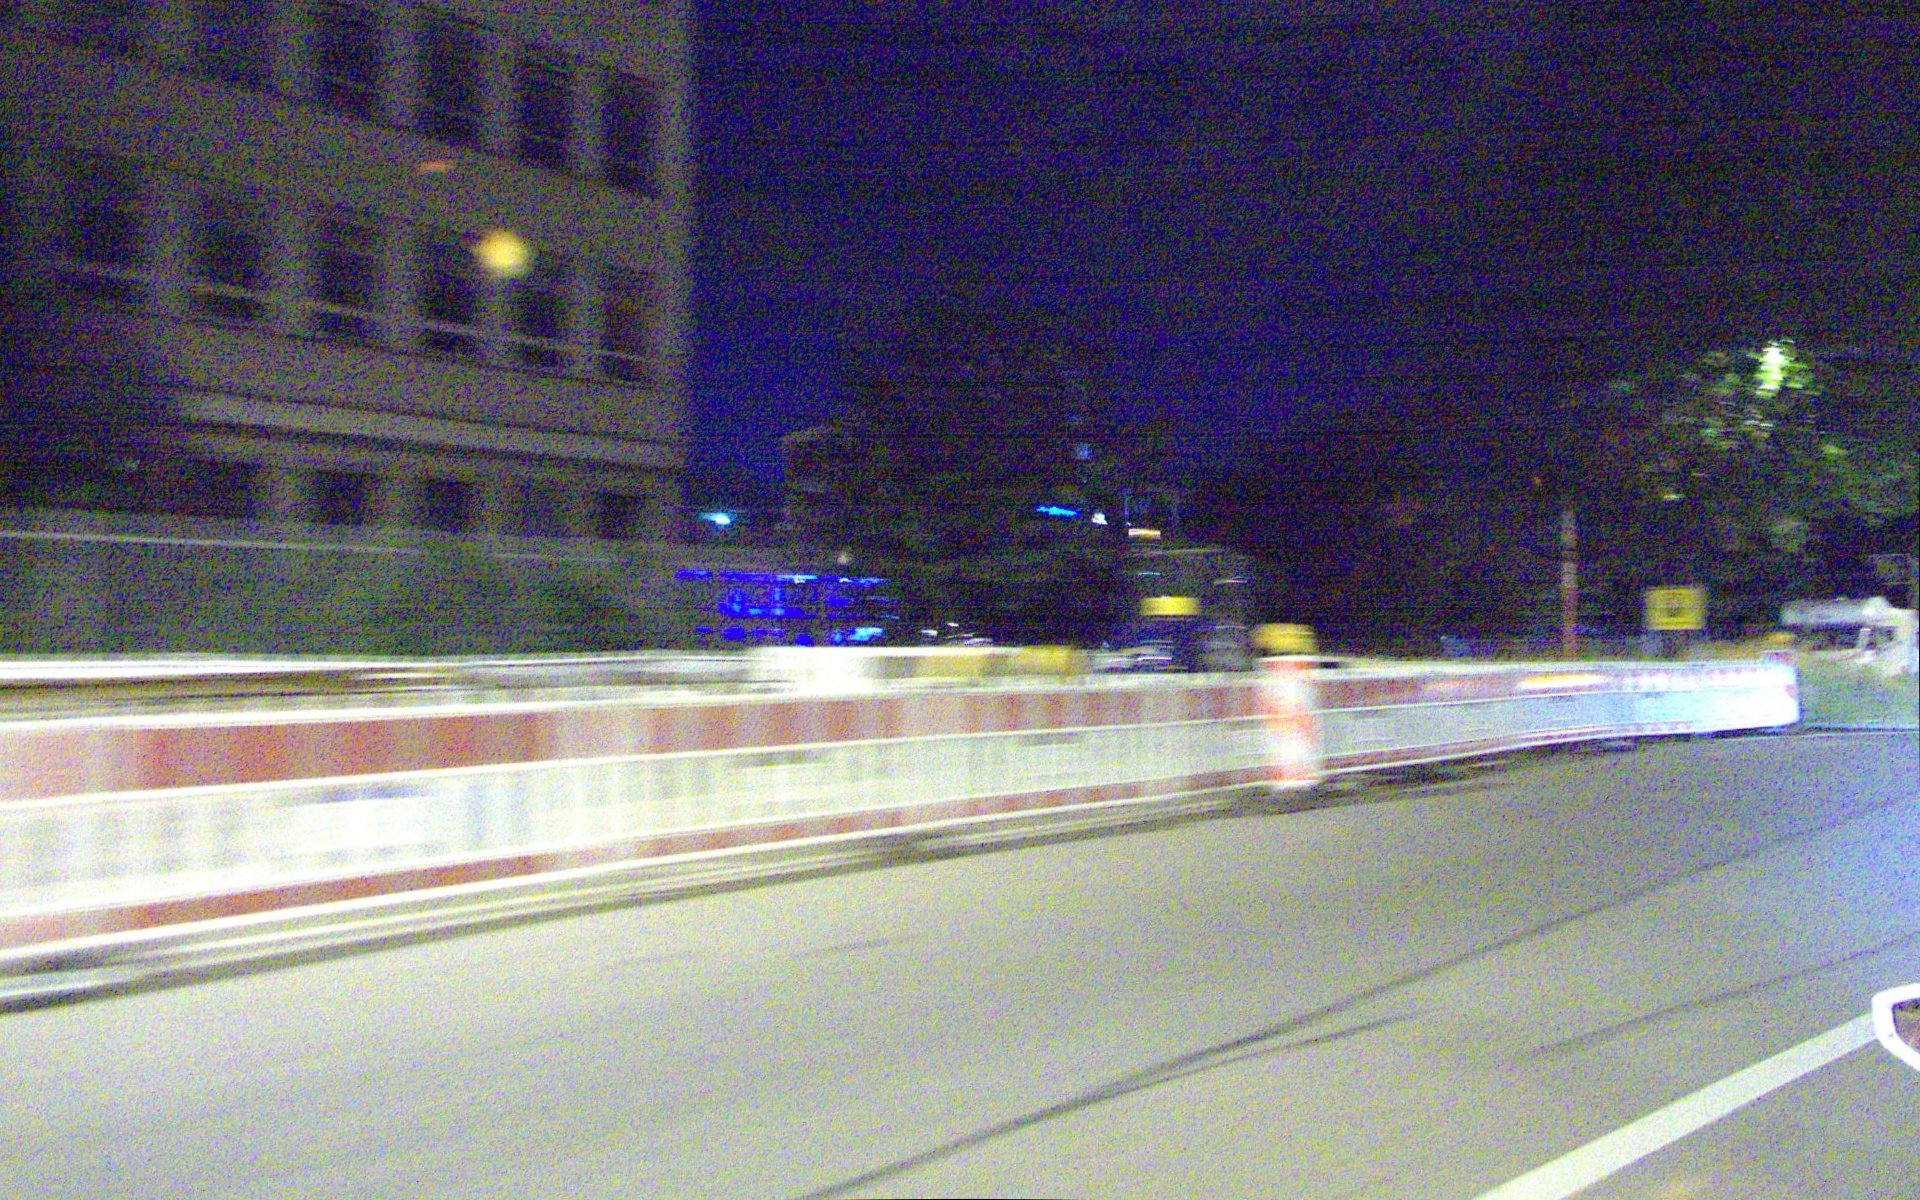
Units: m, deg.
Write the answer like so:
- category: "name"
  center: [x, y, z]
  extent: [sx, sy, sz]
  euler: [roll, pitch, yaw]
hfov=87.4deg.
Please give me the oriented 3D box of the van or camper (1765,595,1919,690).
- category: "van or camper"
  center: [32.005, 1.593, 36.272]
  extent: [7.370, 3.134, 2.504]
  euler: [2, -4, -35]

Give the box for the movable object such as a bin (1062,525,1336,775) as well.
- category: "movable object such as a bin"
  center: [3.164, 0.631, 12.963]
  extent: [3.674, 2.769, 1.556]
  euler: [1, -5, -43]

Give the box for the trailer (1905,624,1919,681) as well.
- category: "trailer"
  center: [45.012, 2.383, 45.867]
  extent: [3.533, 2.560, 1.981]
  euler: [2, -4, -36]

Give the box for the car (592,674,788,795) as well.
- category: "car"
  center: [-6.788, 3.269, 25.381]
  extent: [4.433, 2.588, 1.983]
  euler: [1, -1, -32]

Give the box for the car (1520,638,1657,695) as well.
- category: "car"
  center: [33.086, 3.463, 52.921]
  extent: [6.562, 2.879, 1.996]
  euler: [0, -1, -12]

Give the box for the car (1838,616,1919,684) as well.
- category: "car"
  center: [39.355, 2.106, 42.037]
  extent: [7.027, 2.639, 2.501]
  euler: [2, -5, -37]
